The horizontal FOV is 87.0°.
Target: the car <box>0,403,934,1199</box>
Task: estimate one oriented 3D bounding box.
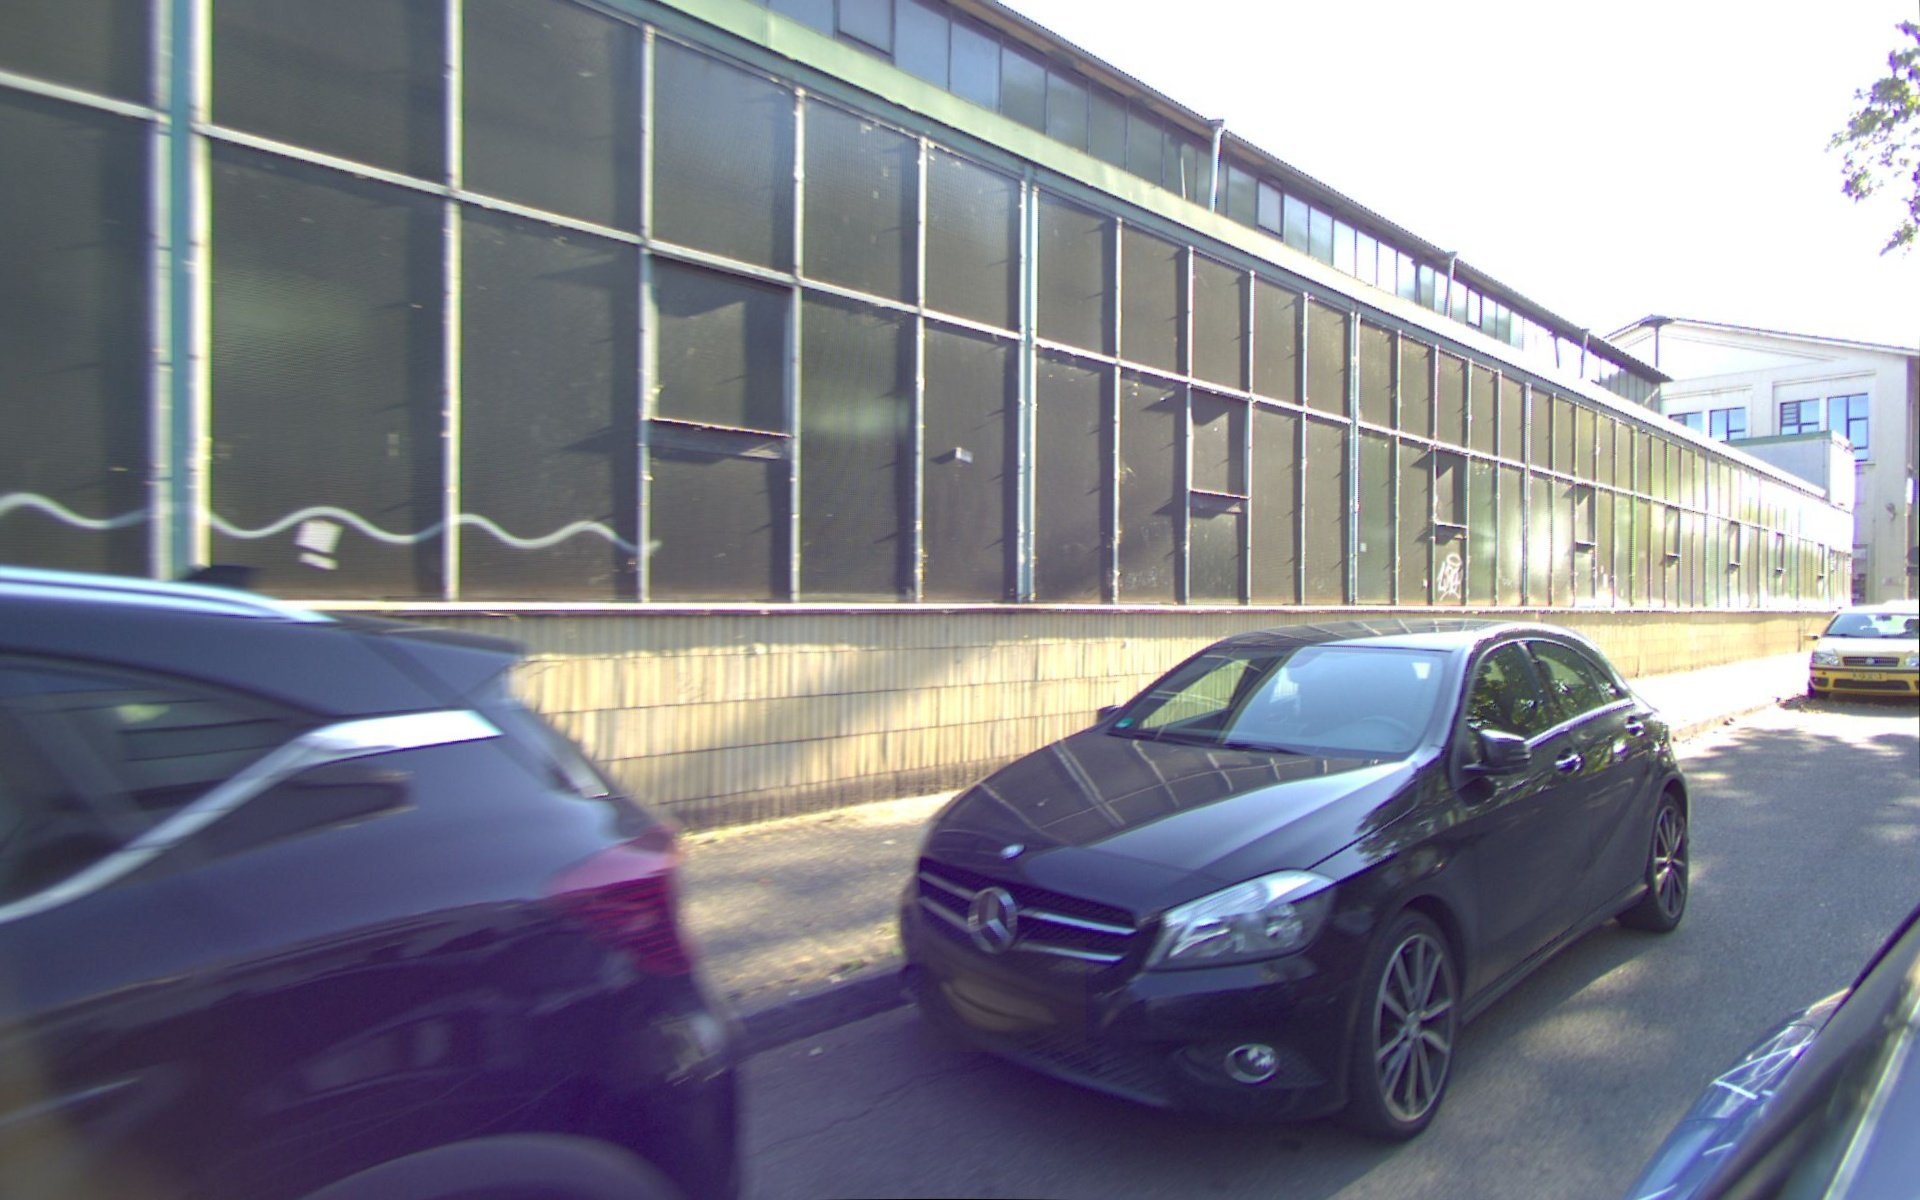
[{"bbox_3d":[-2.248,0.650,0.944,4.330,1.607,1.809,-1,-1,-43],"label":"car"}]

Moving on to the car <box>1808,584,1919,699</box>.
[{"bbox_3d":[14.936,0.579,16.103,3.934,1.655,1.752,-1,0,-43],"label":"car"}]

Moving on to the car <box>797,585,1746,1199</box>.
[{"bbox_3d":[1.721,0.725,4.384,4.540,1.510,1.753,-1,-1,-41],"label":"car"}]

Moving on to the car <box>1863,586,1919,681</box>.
[{"bbox_3d":[18.382,0.558,18.896,4.234,1.655,1.753,-1,0,-41],"label":"car"}]

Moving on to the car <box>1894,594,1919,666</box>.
[{"bbox_3d":[22.273,0.613,22.481,4.453,1.512,1.901,-1,0,-43],"label":"car"}]
